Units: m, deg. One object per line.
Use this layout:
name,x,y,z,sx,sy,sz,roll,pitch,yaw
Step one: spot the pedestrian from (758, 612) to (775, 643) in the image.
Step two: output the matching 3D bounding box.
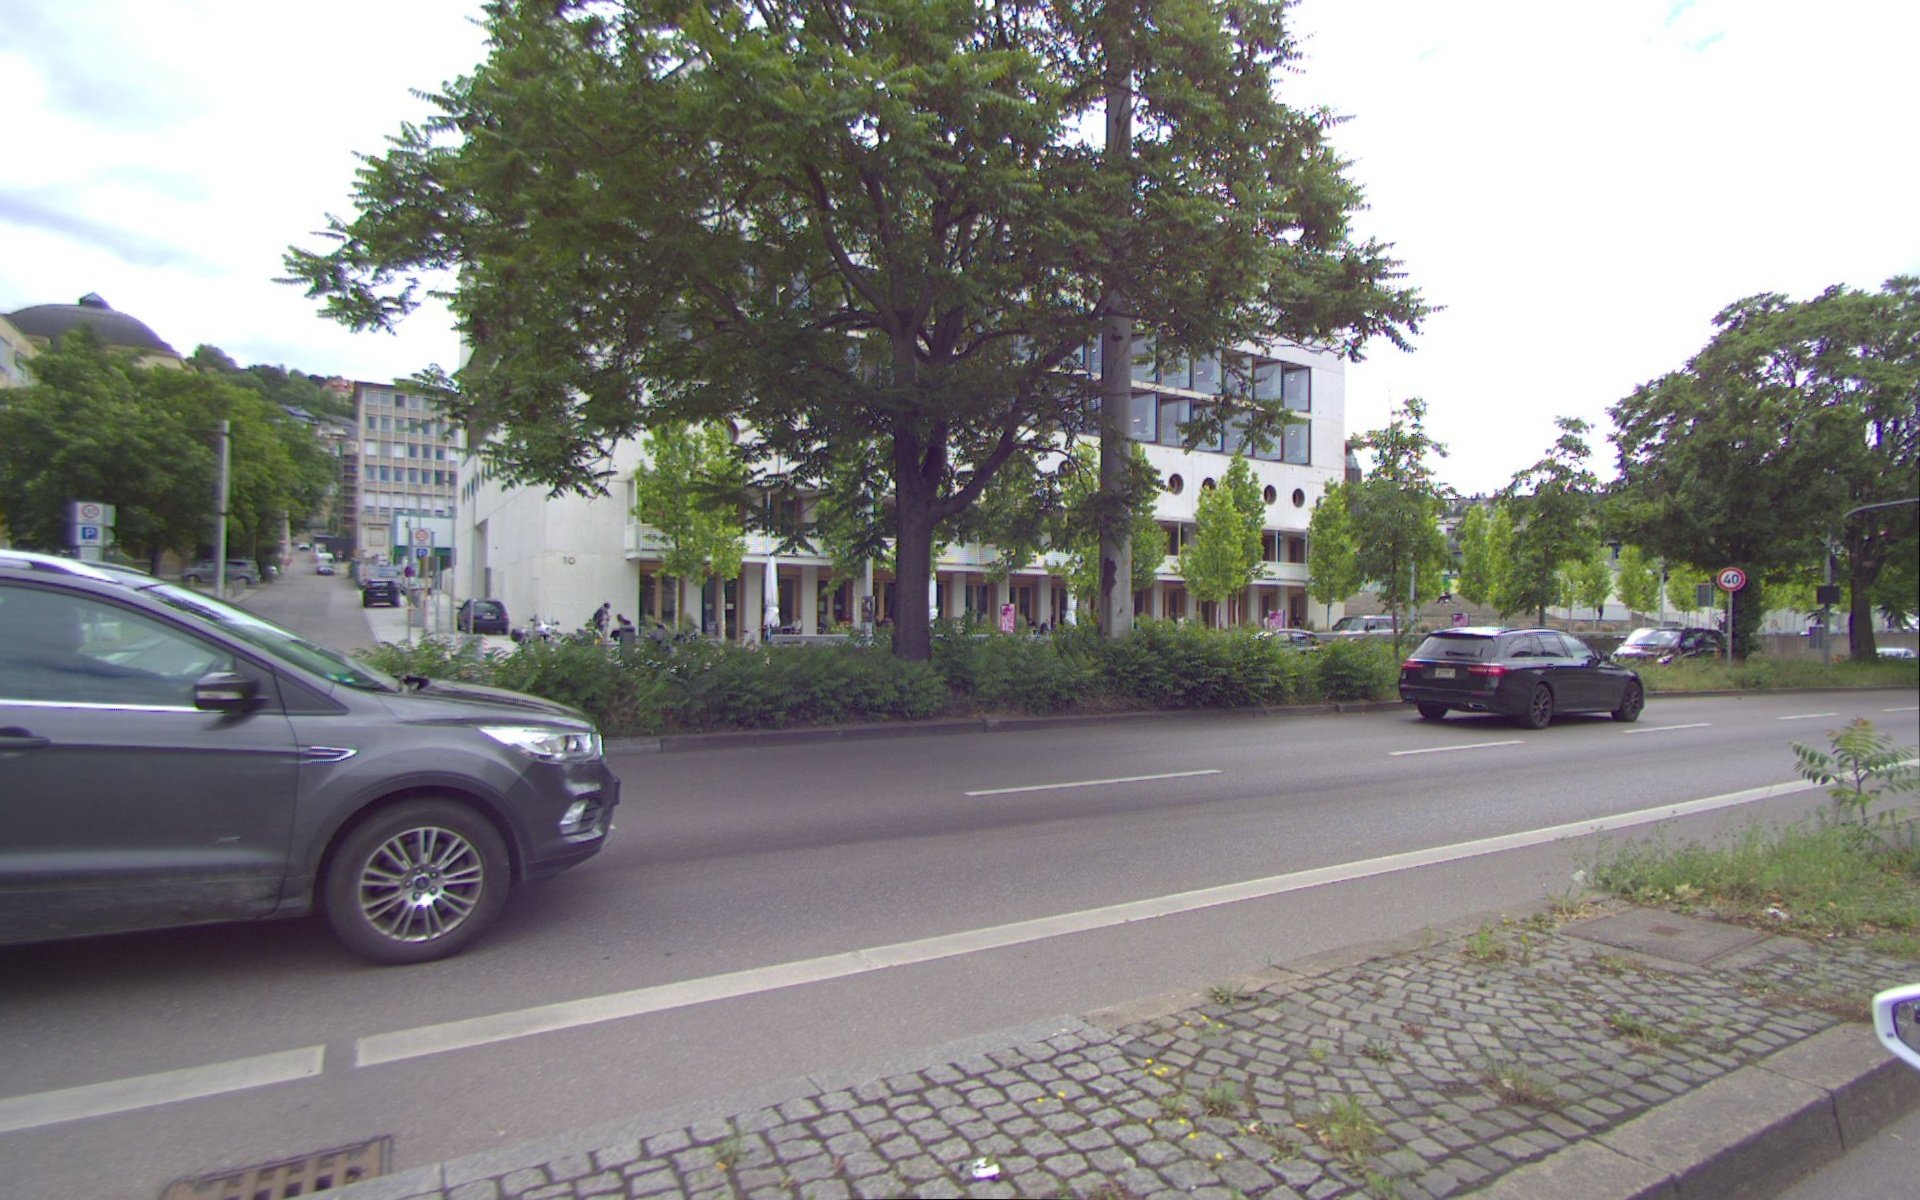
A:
pedestrian,-8.570,1.216,44.509,0.559,1.344,0.516,3,-3,-31

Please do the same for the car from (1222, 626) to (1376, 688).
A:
car,9.212,1.542,27.240,3.953,1.481,1.747,2,1,-30

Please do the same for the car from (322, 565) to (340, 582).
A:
car,-83.988,-3.504,134.044,1.979,2.040,3.964,1,-2,-33

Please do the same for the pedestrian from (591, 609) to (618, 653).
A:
pedestrian,-13.241,1.142,37.384,0.751,1.589,1.094,2,1,-28

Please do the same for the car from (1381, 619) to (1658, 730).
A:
car,9.018,1.131,16.050,4.810,1.479,1.802,2,0,-33

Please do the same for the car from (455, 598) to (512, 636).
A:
car,-19.839,0.674,41.761,1.732,1.293,3.966,2,2,-31

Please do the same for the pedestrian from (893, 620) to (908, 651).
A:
pedestrian,-2.683,1.625,45.574,0.622,1.344,0.651,-2,-5,-4

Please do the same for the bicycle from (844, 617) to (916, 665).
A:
bicycle,-3.032,1.504,37.509,1.170,1.706,3.593,1,-1,-32

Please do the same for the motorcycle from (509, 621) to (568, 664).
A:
motorcycle,-12.572,1.263,29.959,1.858,1.249,0.657,0,-3,34

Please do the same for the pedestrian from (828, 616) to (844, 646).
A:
pedestrian,-5.770,1.441,46.794,0.559,1.344,0.516,3,-3,-31

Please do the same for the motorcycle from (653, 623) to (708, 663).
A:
motorcycle,-9.107,1.396,32.702,1.858,1.249,0.657,0,-3,34

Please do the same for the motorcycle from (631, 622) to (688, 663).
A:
motorcycle,-9.546,1.354,31.858,1.858,1.249,0.657,0,-3,34

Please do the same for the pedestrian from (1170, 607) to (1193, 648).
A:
pedestrian,11.509,1.421,52.123,0.730,2.037,0.708,2,-10,-30

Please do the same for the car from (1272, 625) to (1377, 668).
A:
car,15.467,1.962,42.558,4.394,1.740,1.848,1,-2,-31

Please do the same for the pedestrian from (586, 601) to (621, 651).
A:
pedestrian,-11.575,0.838,32.593,0.865,1.577,0.598,0,-1,16

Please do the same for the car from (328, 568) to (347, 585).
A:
car,-79.969,-2.998,128.972,1.979,2.040,3.964,1,-2,-33

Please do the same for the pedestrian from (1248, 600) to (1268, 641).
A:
pedestrian,14.976,1.037,50.421,0.623,2.040,0.629,2,1,-31

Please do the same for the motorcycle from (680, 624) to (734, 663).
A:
motorcycle,-8.469,1.456,33.631,1.858,1.249,0.657,0,-3,34

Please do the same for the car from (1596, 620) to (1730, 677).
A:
car,22.883,1.553,32.675,4.391,1.740,1.849,1,-2,-29

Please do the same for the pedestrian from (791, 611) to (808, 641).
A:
pedestrian,-7.241,1.177,45.350,0.559,1.344,0.516,3,-3,-31

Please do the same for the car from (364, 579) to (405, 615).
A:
car,-33.977,-0.220,59.280,1.977,1.874,3.967,2,2,-30

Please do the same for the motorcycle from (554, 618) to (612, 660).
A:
motorcycle,-11.627,1.197,30.952,1.858,1.249,0.657,0,-3,34

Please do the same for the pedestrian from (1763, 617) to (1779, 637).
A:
pedestrian,68.873,2.288,85.282,0.994,1.662,0.731,1,0,-32

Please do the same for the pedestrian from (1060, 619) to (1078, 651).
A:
pedestrian,5.733,1.825,52.775,0.623,1.655,0.629,2,-1,-31

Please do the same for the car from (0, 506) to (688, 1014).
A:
car,-3.707,0.567,4.294,4.604,1.738,1.884,1,-2,-31

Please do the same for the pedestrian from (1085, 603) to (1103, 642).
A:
pedestrian,7.077,1.182,53.056,0.623,2.039,0.629,2,-4,-31

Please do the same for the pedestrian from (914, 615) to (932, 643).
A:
pedestrian,-1.777,1.398,48.330,0.643,1.345,0.630,1,0,-29

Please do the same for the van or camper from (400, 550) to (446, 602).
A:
van or camper,-37.658,-1.684,70.388,2.370,3.391,6.277,2,1,-32

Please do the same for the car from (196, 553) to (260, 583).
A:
car,-54.325,-2.333,74.587,3.640,2.040,1.576,1,-1,-30
